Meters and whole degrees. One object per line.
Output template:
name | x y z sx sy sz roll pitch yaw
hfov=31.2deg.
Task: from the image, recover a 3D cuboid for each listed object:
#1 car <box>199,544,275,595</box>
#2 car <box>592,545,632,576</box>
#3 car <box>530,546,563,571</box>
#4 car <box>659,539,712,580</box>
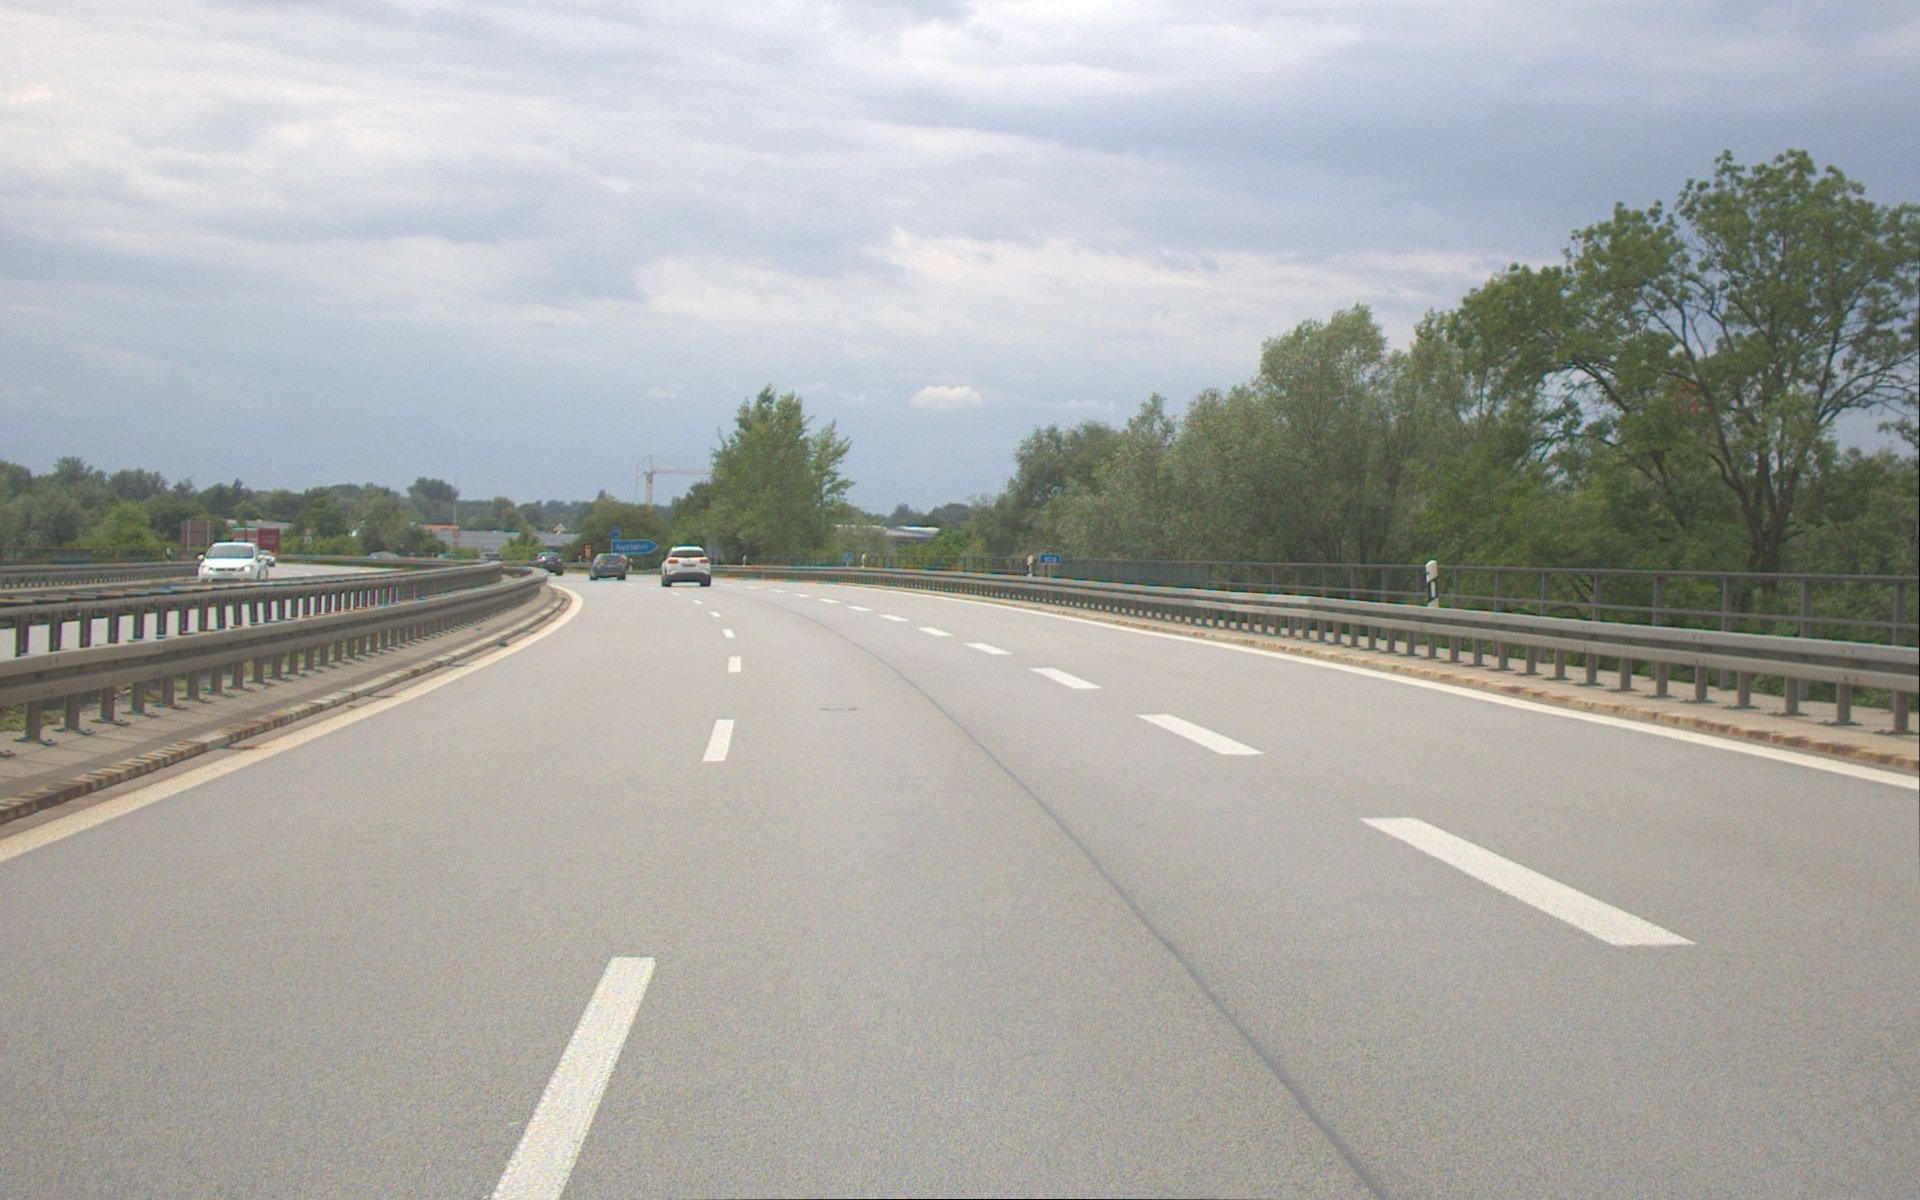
car | -20.634 -0.892 98.237 1.531 1.402 4.329 1 1 -4
car | -19.109 -2.170 188.659 1.892 1.634 4.623 1 1 -10
car | -27.666 -2.801 230.065 1.902 1.634 4.781 1 0 -10
car | -11.347 -1.662 141.863 1.902 1.634 4.397 1 1 -8
